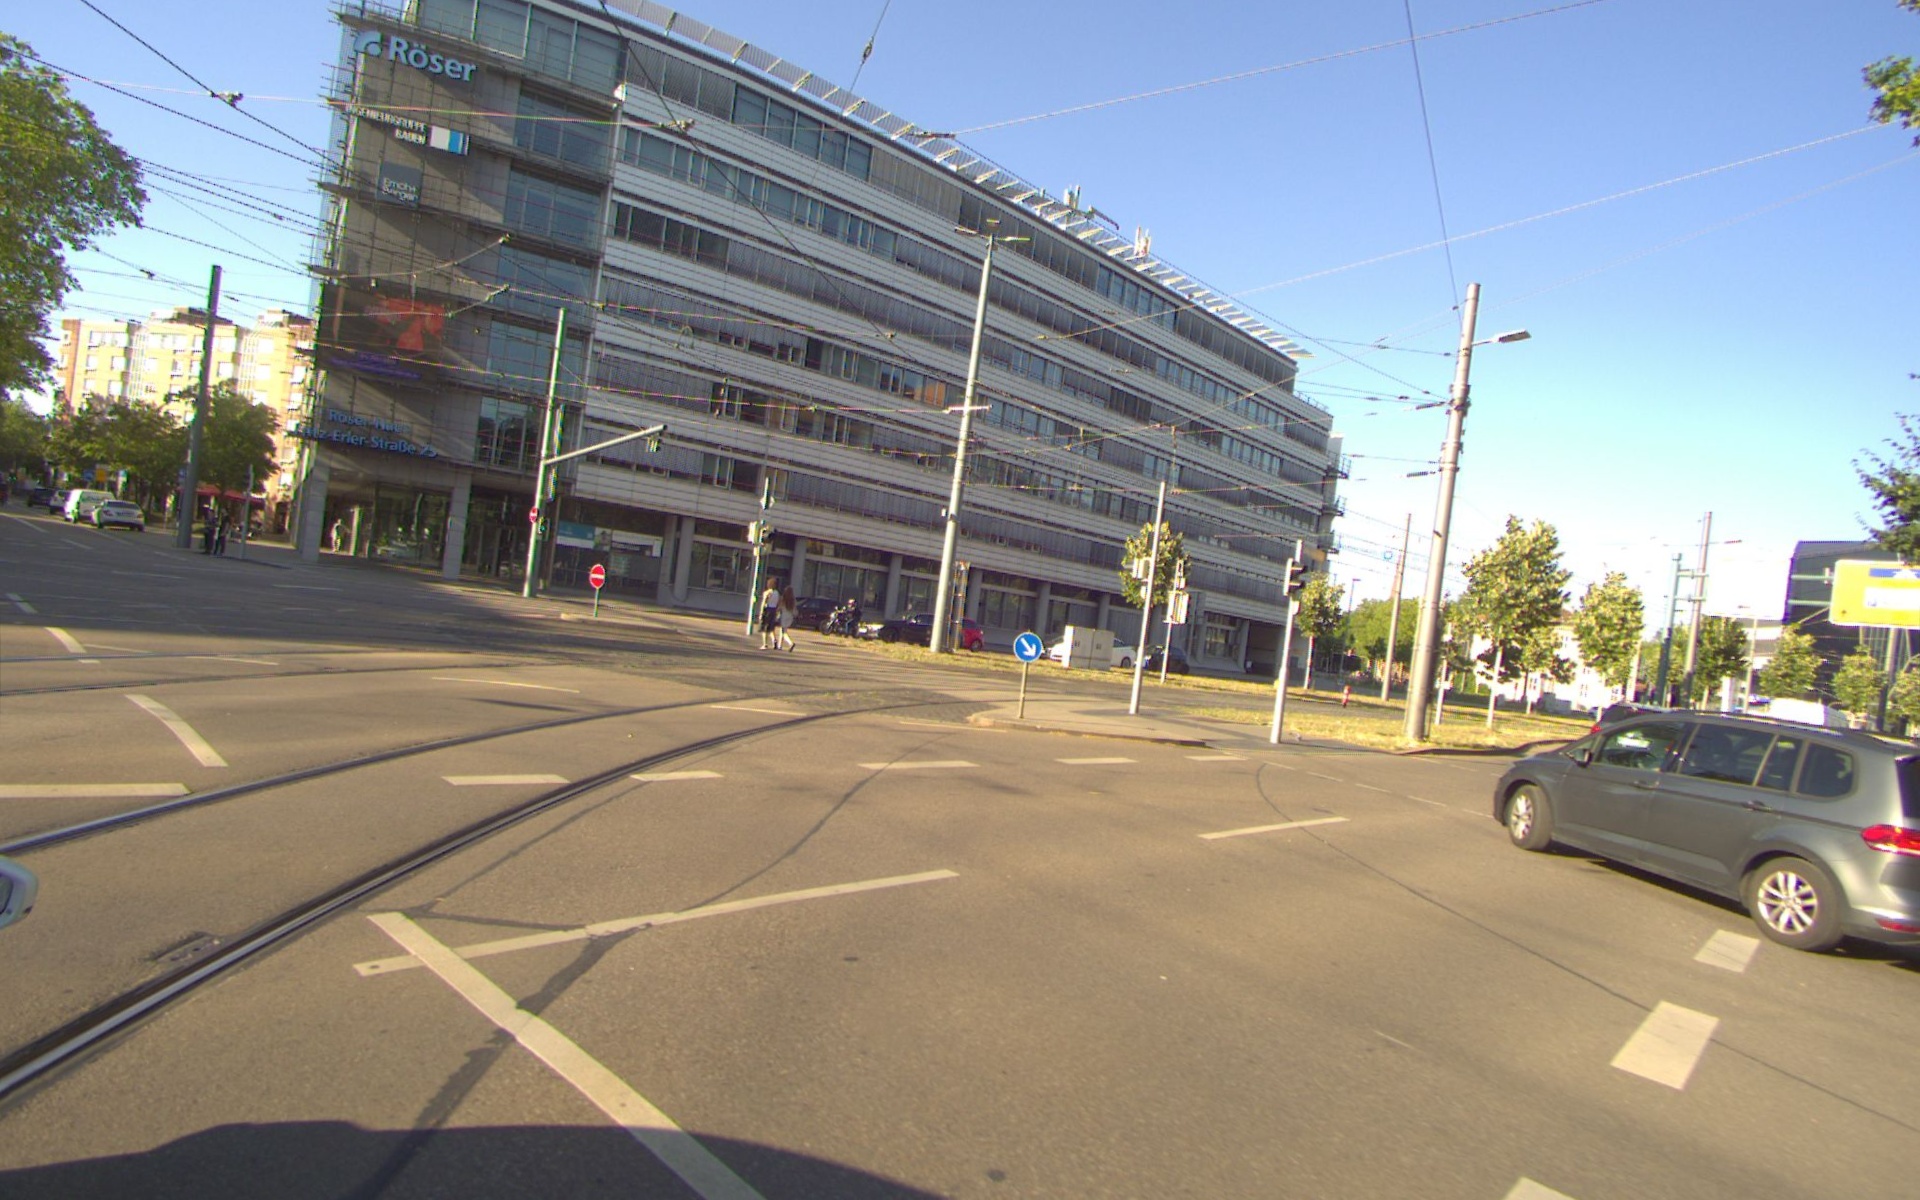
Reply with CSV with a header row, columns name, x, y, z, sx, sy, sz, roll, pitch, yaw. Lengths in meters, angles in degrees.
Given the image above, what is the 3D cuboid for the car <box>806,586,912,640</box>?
name,x,y,z,sx,sy,sz,roll,pitch,yaw
car,-4.191,0.560,41.875,3.832,1.640,1.887,9,-1,-35

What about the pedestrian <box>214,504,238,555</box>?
name,x,y,z,sx,sy,sz,roll,pitch,yaw
pedestrian,-27.630,-2.652,37.857,0.537,1.846,0.374,7,1,28

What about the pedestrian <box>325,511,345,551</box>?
name,x,y,z,sx,sy,sz,roll,pitch,yaw
pedestrian,-33.824,-3.746,54.454,0.671,2.039,0.509,6,1,-44

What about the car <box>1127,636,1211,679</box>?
name,x,y,z,sx,sy,sz,roll,pitch,yaw
car,11.067,3.050,53.106,4.135,1.640,1.887,9,-1,-35

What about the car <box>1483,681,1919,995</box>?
name,x,y,z,sx,sy,sz,roll,pitch,yaw
car,6.664,1.792,8.541,1.592,1.622,4.168,8,0,-9

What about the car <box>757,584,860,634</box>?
name,x,y,z,sx,sy,sz,roll,pitch,yaw
car,-6.884,0.413,45.868,4.135,1.640,1.887,9,-1,-35

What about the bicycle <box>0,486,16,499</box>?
name,x,y,z,sx,sy,sz,roll,pitch,yaw
bicycle,-65.093,-7.358,68.621,0.814,0.784,1.711,7,0,-38

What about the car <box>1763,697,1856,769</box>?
name,x,y,z,sx,sy,sz,roll,pitch,yaw
car,35.980,5.683,42.543,5.936,2.509,1.976,9,-1,-42

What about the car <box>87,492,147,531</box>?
name,x,y,z,sx,sy,sz,roll,pitch,yaw
car,-42.364,-4.450,50.516,1.849,1.571,4.269,7,0,-45

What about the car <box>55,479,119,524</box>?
name,x,y,z,sx,sy,sz,roll,pitch,yaw
car,-47.505,-5.372,54.711,4.325,2.038,1.990,7,0,42

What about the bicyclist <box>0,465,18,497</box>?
name,x,y,z,sx,sy,sz,roll,pitch,yaw
bicyclist,-65.082,-8.124,68.749,0.749,2.038,0.735,8,0,-38

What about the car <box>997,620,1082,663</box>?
name,x,y,z,sx,sy,sz,roll,pitch,yaw
car,3.896,2.015,48.758,3.970,1.615,1.611,8,-1,-40

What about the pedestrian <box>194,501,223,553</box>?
name,x,y,z,sx,sy,sz,roll,pitch,yaw
pedestrian,-28.515,-2.775,38.176,0.579,1.846,0.543,7,1,28

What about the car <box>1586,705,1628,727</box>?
name,x,y,z,sx,sy,sz,roll,pitch,yaw
car,76.501,13.669,119.086,3.933,1.882,1.996,7,0,32

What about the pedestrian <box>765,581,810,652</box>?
name,x,y,z,sx,sy,sz,roll,pitch,yaw
pedestrian,-4.488,0.426,26.194,0.643,1.709,0.837,6,1,-39

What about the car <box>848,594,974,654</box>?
name,x,y,z,sx,sy,sz,roll,pitch,yaw
car,-1.903,0.959,39.568,4.484,1.640,1.887,9,-1,-35

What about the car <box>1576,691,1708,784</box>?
name,x,y,z,sx,sy,sz,roll,pitch,yaw
car,15.588,3.114,22.900,1.839,1.651,4.245,8,-1,41

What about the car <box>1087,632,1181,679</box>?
name,x,y,z,sx,sy,sz,roll,pitch,yaw
car,8.332,2.653,48.103,4.135,1.640,1.887,9,-1,-35

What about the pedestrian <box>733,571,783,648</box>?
name,x,y,z,sx,sy,sz,roll,pitch,yaw
pedestrian,-5.218,0.240,26.005,0.694,1.865,0.955,6,1,-41

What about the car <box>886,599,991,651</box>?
name,x,y,z,sx,sy,sz,roll,pitch,yaw
car,-0.931,1.124,44.253,4.135,1.640,1.887,9,-1,-35

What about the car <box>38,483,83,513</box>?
name,x,y,z,sx,sy,sz,roll,pitch,yaw
car,-58.406,-6.655,65.324,1.849,1.571,4.269,7,0,-45

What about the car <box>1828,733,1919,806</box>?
name,x,y,z,sx,sy,sz,roll,pitch,yaw
car,26.748,4.888,29.300,1.841,1.651,4.241,8,-1,45

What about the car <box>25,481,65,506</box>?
name,x,y,z,sx,sy,sz,roll,pitch,yaw
car,-73.320,-8.542,80.630,2.255,1.571,4.272,7,0,-43
